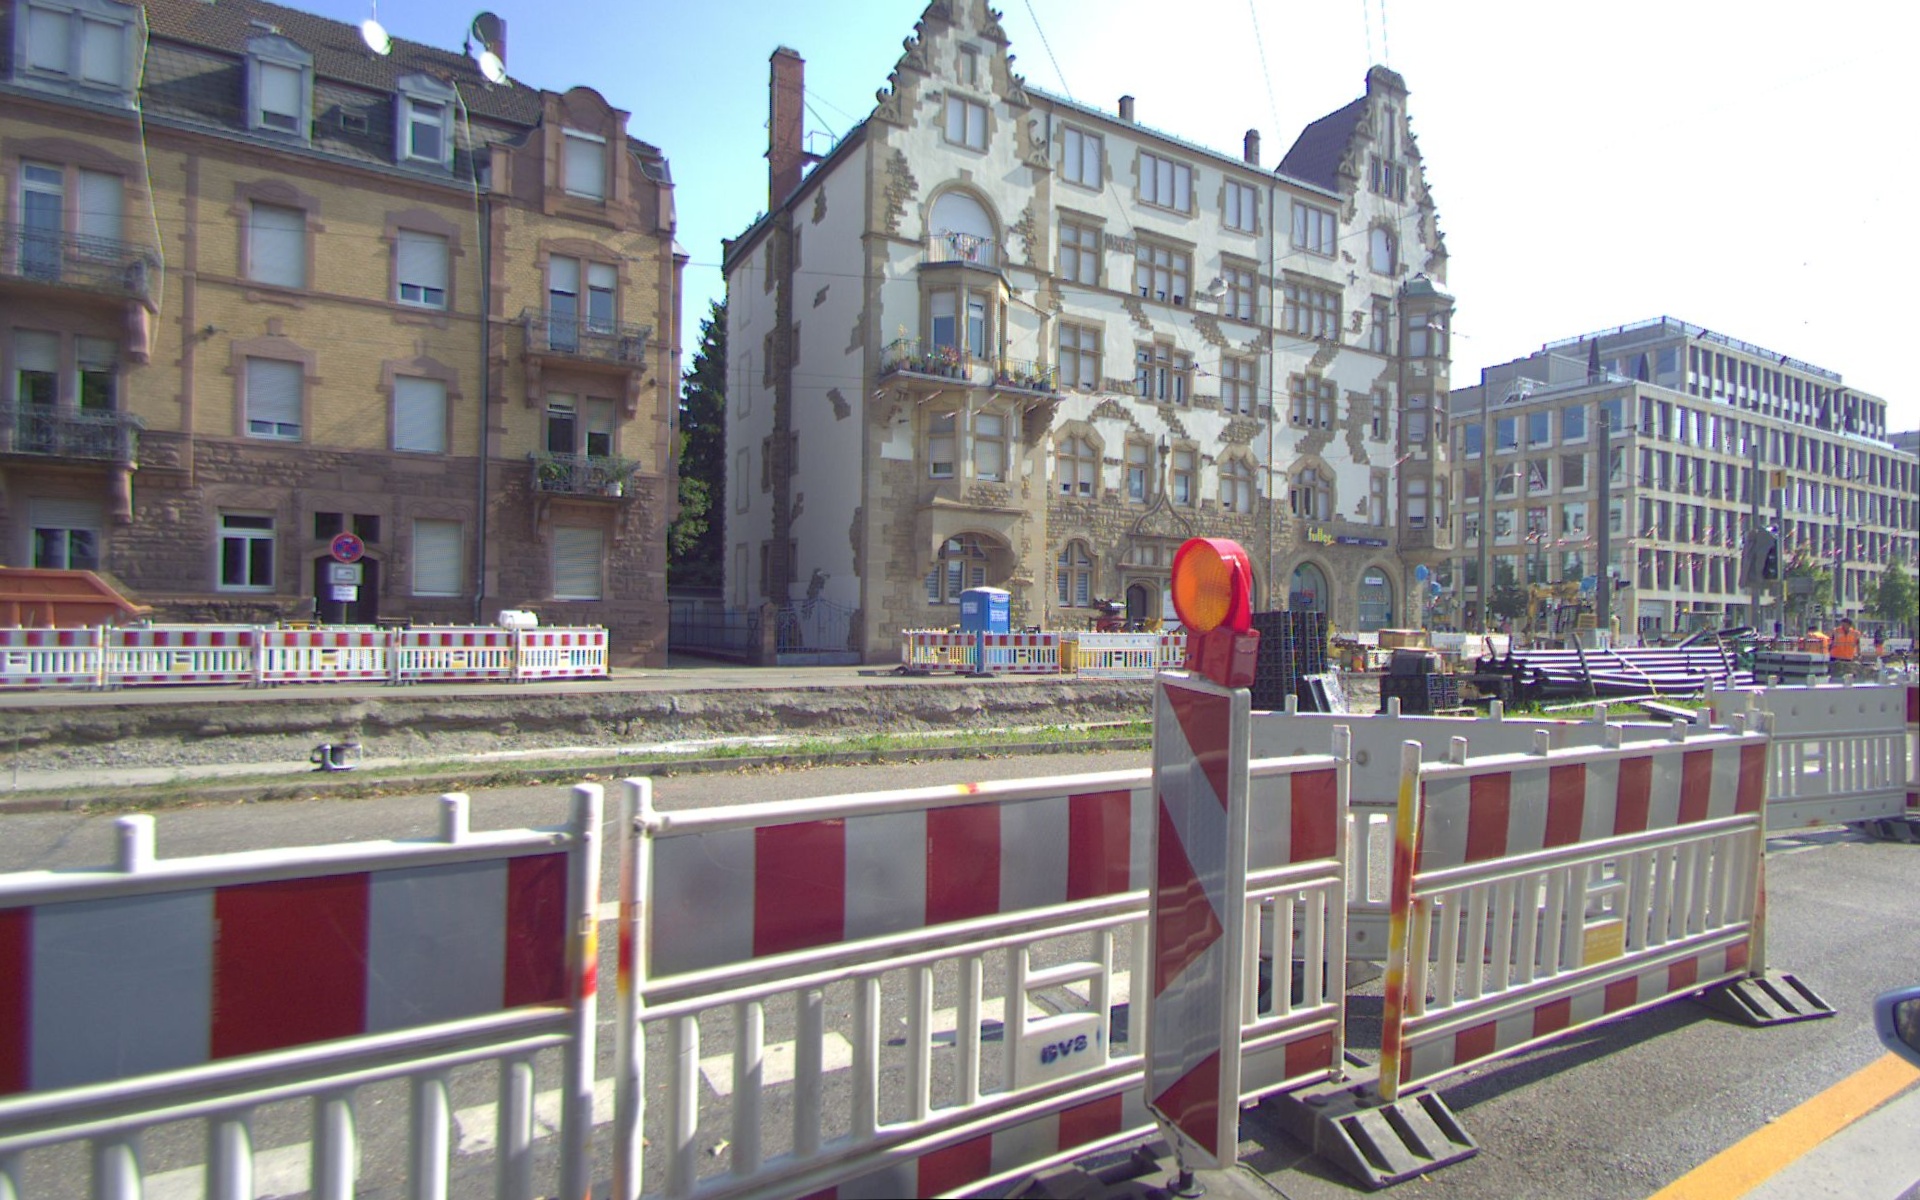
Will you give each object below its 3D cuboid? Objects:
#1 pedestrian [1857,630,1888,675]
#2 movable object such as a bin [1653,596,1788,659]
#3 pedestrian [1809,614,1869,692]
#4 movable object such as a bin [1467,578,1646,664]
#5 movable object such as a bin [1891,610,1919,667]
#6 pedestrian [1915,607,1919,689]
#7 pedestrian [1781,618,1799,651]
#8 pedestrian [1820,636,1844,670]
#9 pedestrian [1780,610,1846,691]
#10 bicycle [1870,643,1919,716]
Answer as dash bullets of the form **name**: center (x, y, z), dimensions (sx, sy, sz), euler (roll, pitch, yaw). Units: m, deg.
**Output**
- **pedestrian**: center (39.728, 2.266, 43.739), dimensions (0.712, 1.937, 0.785), euler (1, -2, -22)
- **movable object such as a bin**: center (36.611, 1.311, 48.533), dimensions (4.723, 2.872, 2.449), euler (0, -2, 23)
- **pedestrian**: center (21.120, 1.256, 24.157), dimensions (0.813, 1.833, 0.755), euler (0, -2, 15)
- **movable object such as a bin**: center (33.451, 1.245, 56.709), dimensions (4.890, 4.404, 7.356), euler (2, -2, -17)
- **movable object such as a bin**: center (54.800, 2.220, 54.828), dimensions (8.380, 2.997, 3.595), euler (3, -1, -31)
- **pedestrian**: center (22.820, 1.121, 23.302), dimensions (0.698, 1.895, 0.718), euler (1, -2, -22)
- **pedestrian**: center (48.612, 1.999, 58.836), dimensions (0.744, 1.889, 0.807), euler (0, -1, 38)
- **pedestrian**: center (49.322, 2.974, 56.785), dimensions (0.804, 1.889, 0.915), euler (2, -1, -41)
- **pedestrian**: center (19.915, 1.174, 23.461), dimensions (0.870, 1.840, 0.828), euler (1, -2, -15)
- **bicycle**: center (15.683, 1.303, 16.692), dimensions (1.952, 1.113, 0.557), euler (3, -1, -41)
